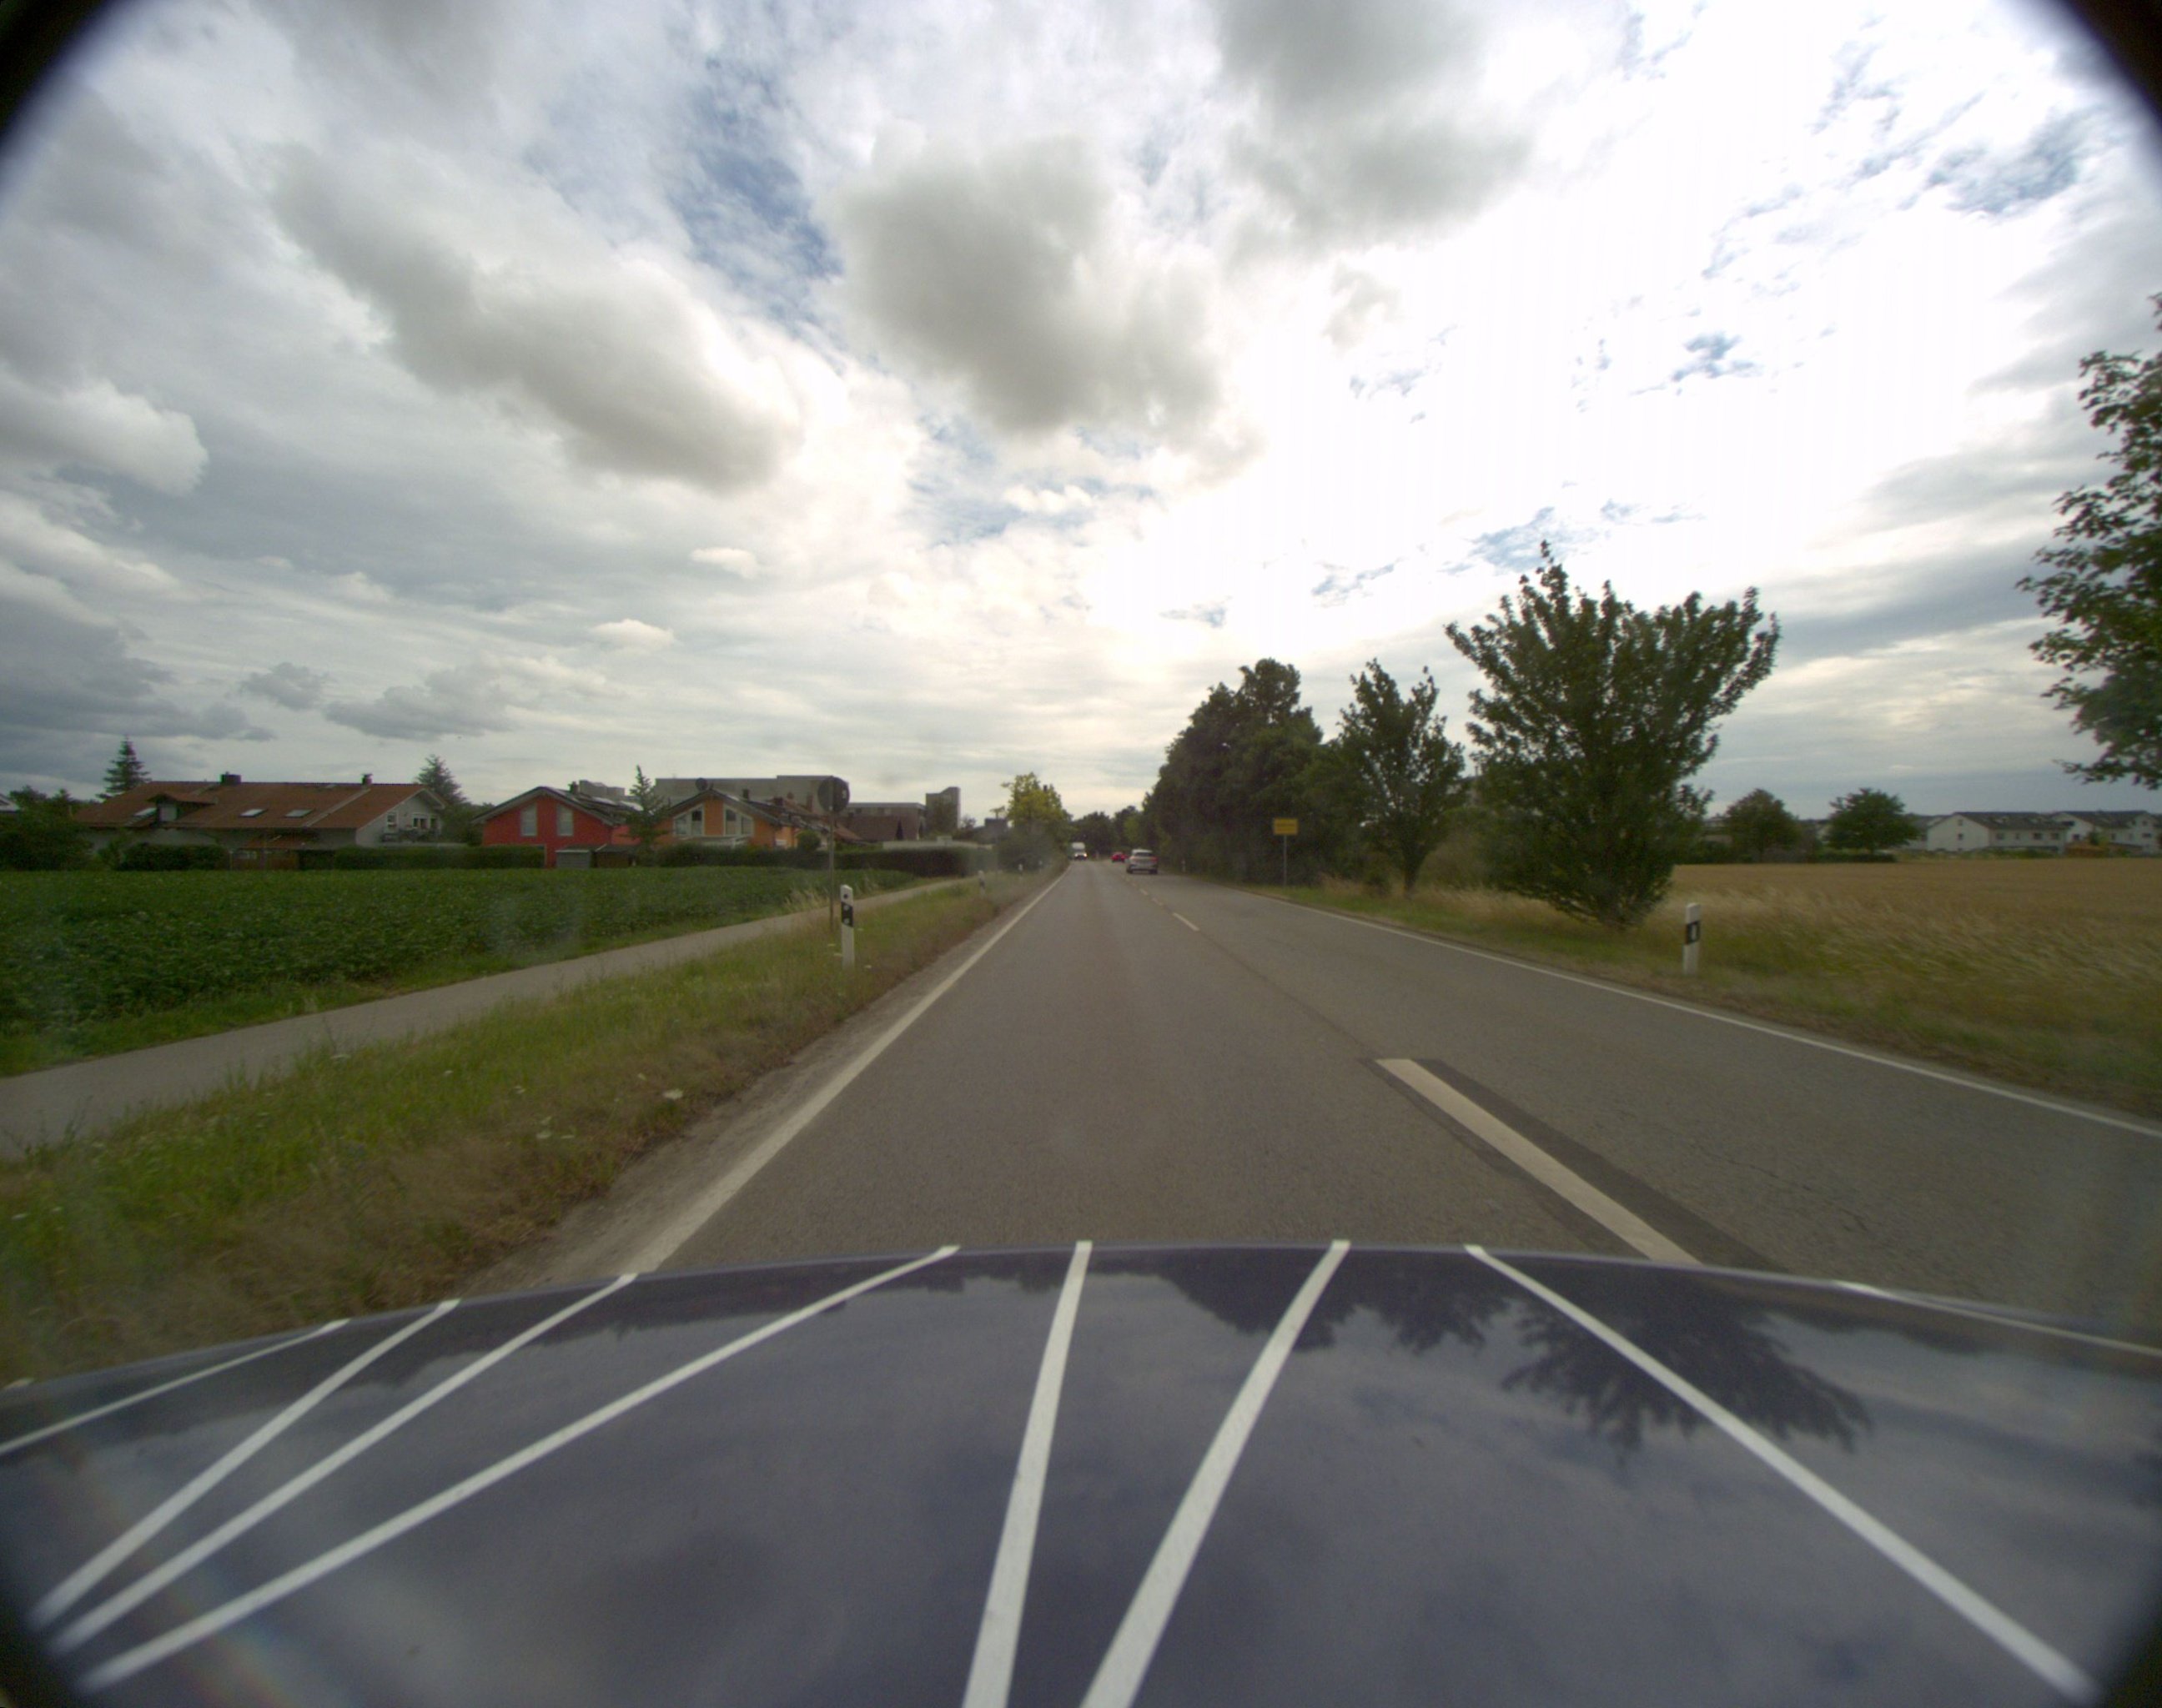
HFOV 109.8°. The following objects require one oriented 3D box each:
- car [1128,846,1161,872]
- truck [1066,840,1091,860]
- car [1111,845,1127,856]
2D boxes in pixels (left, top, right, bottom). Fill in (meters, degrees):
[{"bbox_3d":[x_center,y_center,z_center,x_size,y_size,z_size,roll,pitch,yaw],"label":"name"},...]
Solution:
[{"bbox_3d":[4.457,0.334,53.811,1.998,1.674,4.809,1,0,1],"label":"car"},{"bbox_3d":[-0.553,-0.744,138.731,2.617,3.428,7.497,-2,0,-15],"label":"truck"},{"bbox_3d":[5.632,-0.555,113.533,1.945,1.577,4.554,1,1,-2],"label":"car"}]
